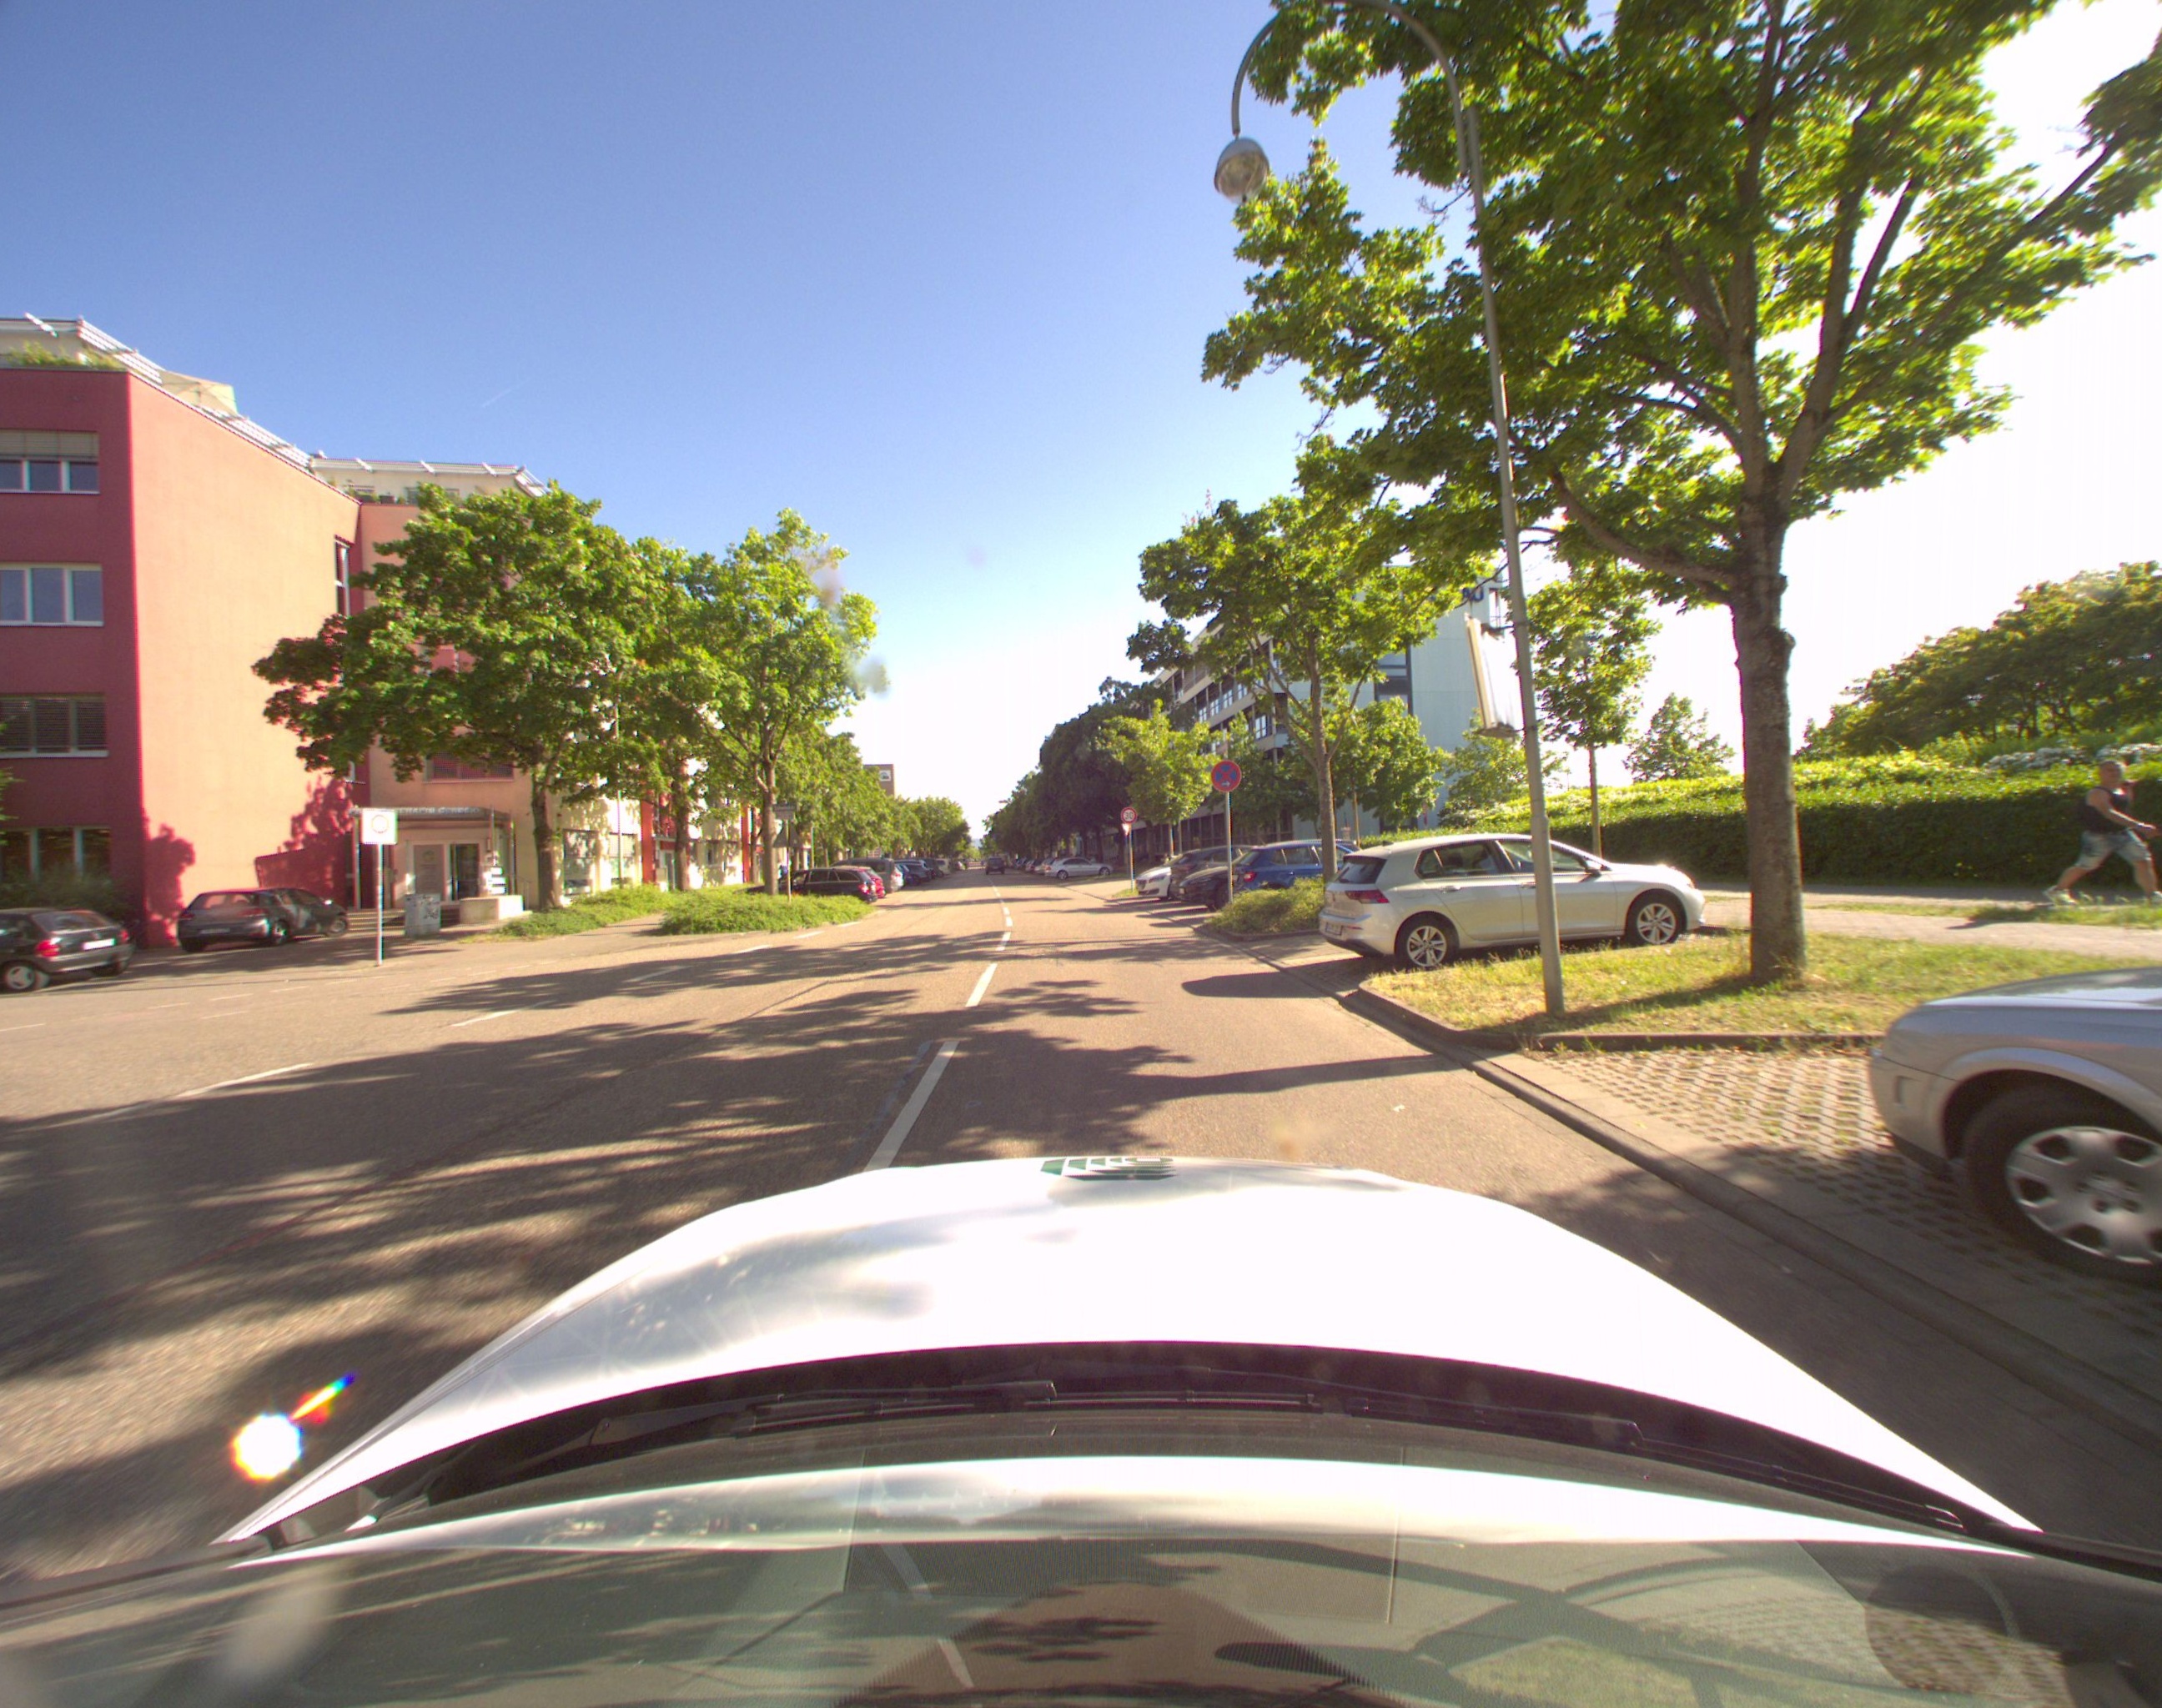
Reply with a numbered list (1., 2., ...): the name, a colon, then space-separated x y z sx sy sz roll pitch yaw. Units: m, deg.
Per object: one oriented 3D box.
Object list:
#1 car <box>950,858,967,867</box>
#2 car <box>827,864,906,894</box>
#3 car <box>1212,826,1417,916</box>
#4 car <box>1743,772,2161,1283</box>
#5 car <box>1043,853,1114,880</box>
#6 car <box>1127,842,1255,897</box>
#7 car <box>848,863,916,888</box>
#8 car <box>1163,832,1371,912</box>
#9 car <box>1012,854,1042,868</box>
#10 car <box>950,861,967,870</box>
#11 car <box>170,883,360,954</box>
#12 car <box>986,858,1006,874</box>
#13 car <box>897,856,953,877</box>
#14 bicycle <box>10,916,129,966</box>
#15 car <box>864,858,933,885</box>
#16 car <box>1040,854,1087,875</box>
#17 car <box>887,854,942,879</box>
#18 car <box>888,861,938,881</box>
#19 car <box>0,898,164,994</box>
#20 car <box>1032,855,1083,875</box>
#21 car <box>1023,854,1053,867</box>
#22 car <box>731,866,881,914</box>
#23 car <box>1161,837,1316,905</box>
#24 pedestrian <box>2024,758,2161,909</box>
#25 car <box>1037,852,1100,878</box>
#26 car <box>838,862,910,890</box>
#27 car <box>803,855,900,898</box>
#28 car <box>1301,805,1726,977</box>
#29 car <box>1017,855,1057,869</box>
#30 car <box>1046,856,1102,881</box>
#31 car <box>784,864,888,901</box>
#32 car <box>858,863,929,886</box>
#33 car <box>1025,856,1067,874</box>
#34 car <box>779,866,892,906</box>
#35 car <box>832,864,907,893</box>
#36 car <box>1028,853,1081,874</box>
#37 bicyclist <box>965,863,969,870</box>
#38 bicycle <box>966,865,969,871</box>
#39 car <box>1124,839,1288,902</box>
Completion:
1. car: -31.043 2.202 206.875 3.979 2.013 1.997 -3 0 -4
2. car: -10.770 1.233 41.197 3.728 1.447 1.869 -1 -1 -11
3. car: 4.979 0.357 17.668 3.800 1.448 1.741 -6 -1 -6
4. car: 4.108 0.438 1.447 1.806 1.493 4.617 -5 0 -4
5. car: -0.191 0.835 55.308 4.574 1.475 1.743 -4 0 -7
6. car: 3.773 0.529 28.058 3.953 1.515 1.694 -5 -1 -14
7. car: -11.765 1.272 48.376 3.724 1.427 1.835 -1 -1 -9
8. car: 4.561 0.433 20.388 4.546 1.515 2.153 -5 -1 -7
9. car: -8.257 1.079 124.547 4.352 1.704 1.806 -4 0 -11
10. car: -30.735 2.782 203.870 3.979 2.013 1.997 -3 0 -4
11. car: -20.818 1.571 21.034 1.739 1.443 4.106 -3 0 -18
12. car: -9.165 1.303 87.818 1.992 1.640 3.989 -1 -1 -7
13. car: -15.371 1.207 80.566 5.254 1.967 1.938 -1 -1 -8
14. bicycle: -23.295 1.994 18.792 1.676 0.986 0.447 -3 0 -24
15. car: -12.548 1.190 56.074 4.310 1.717 1.960 -1 -1 -3
16. car: -1.556 0.906 70.122 3.745 1.493 1.610 -4 0 -12
17. car: -14.407 1.078 70.643 4.481 2.090 2.079 -1 -1 -6
18. car: -13.051 1.313 63.253 3.730 1.427 1.717 -1 -1 -14
19. car: -19.880 1.713 14.788 3.980 1.447 1.799 -3 2 -8
20. car: -2.087 0.952 72.616 4.283 1.493 1.998 -4 0 -8
21. car: -5.871 0.879 110.494 3.945 1.514 1.809 -4 0 -7
22. car: -8.805 1.150 26.370 4.254 1.423 1.737 -1 -1 -4
23. car: 4.378 0.464 22.931 3.872 1.515 1.746 -5 -1 -7
24. pedestrian: 11.165 -0.215 8.876 0.606 1.542 0.935 -3 0 -5
25. car: -0.953 0.820 60.556 4.506 1.542 1.919 -4 0 -4
26. car: -11.670 1.208 46.097 3.724 1.508 1.854 -1 -1 -9
27. car: -10.125 0.984 36.109 3.888 1.811 1.781 -1 -1 -7
28. car: 4.935 0.405 9.683 4.077 1.429 1.642 -6 -1 -1
29. car: -5.559 1.029 102.101 4.825 1.420 2.025 -4 0 -10
30. car: -0.519 1.009 58.128 3.830 1.447 1.919 -4 0 -4
31. car: -10.093 1.163 33.778 3.888 1.423 1.735 -1 -1 -7
32. car: -12.252 1.339 53.514 4.402 1.427 1.767 -1 -1 -10
33. car: -3.462 1.090 80.286 3.969 1.420 1.705 -4 0 -10
34. car: -9.333 1.206 31.215 3.888 1.423 1.735 -1 -1 -7
35. car: -11.228 1.272 43.510 3.728 1.447 1.853 -1 -1 -11
36. car: -2.435 0.878 74.732 4.588 1.493 1.758 -5 0 -8
37. bicyclist: -19.906 2.190 142.573 0.531 1.091 0.793 -3 0 -5
38. bicycle: -19.854 2.483 142.577 0.531 1.072 1.298 -3 0 -4
39. car: 3.864 0.505 25.443 4.556 1.515 1.973 -5 -1 -14
